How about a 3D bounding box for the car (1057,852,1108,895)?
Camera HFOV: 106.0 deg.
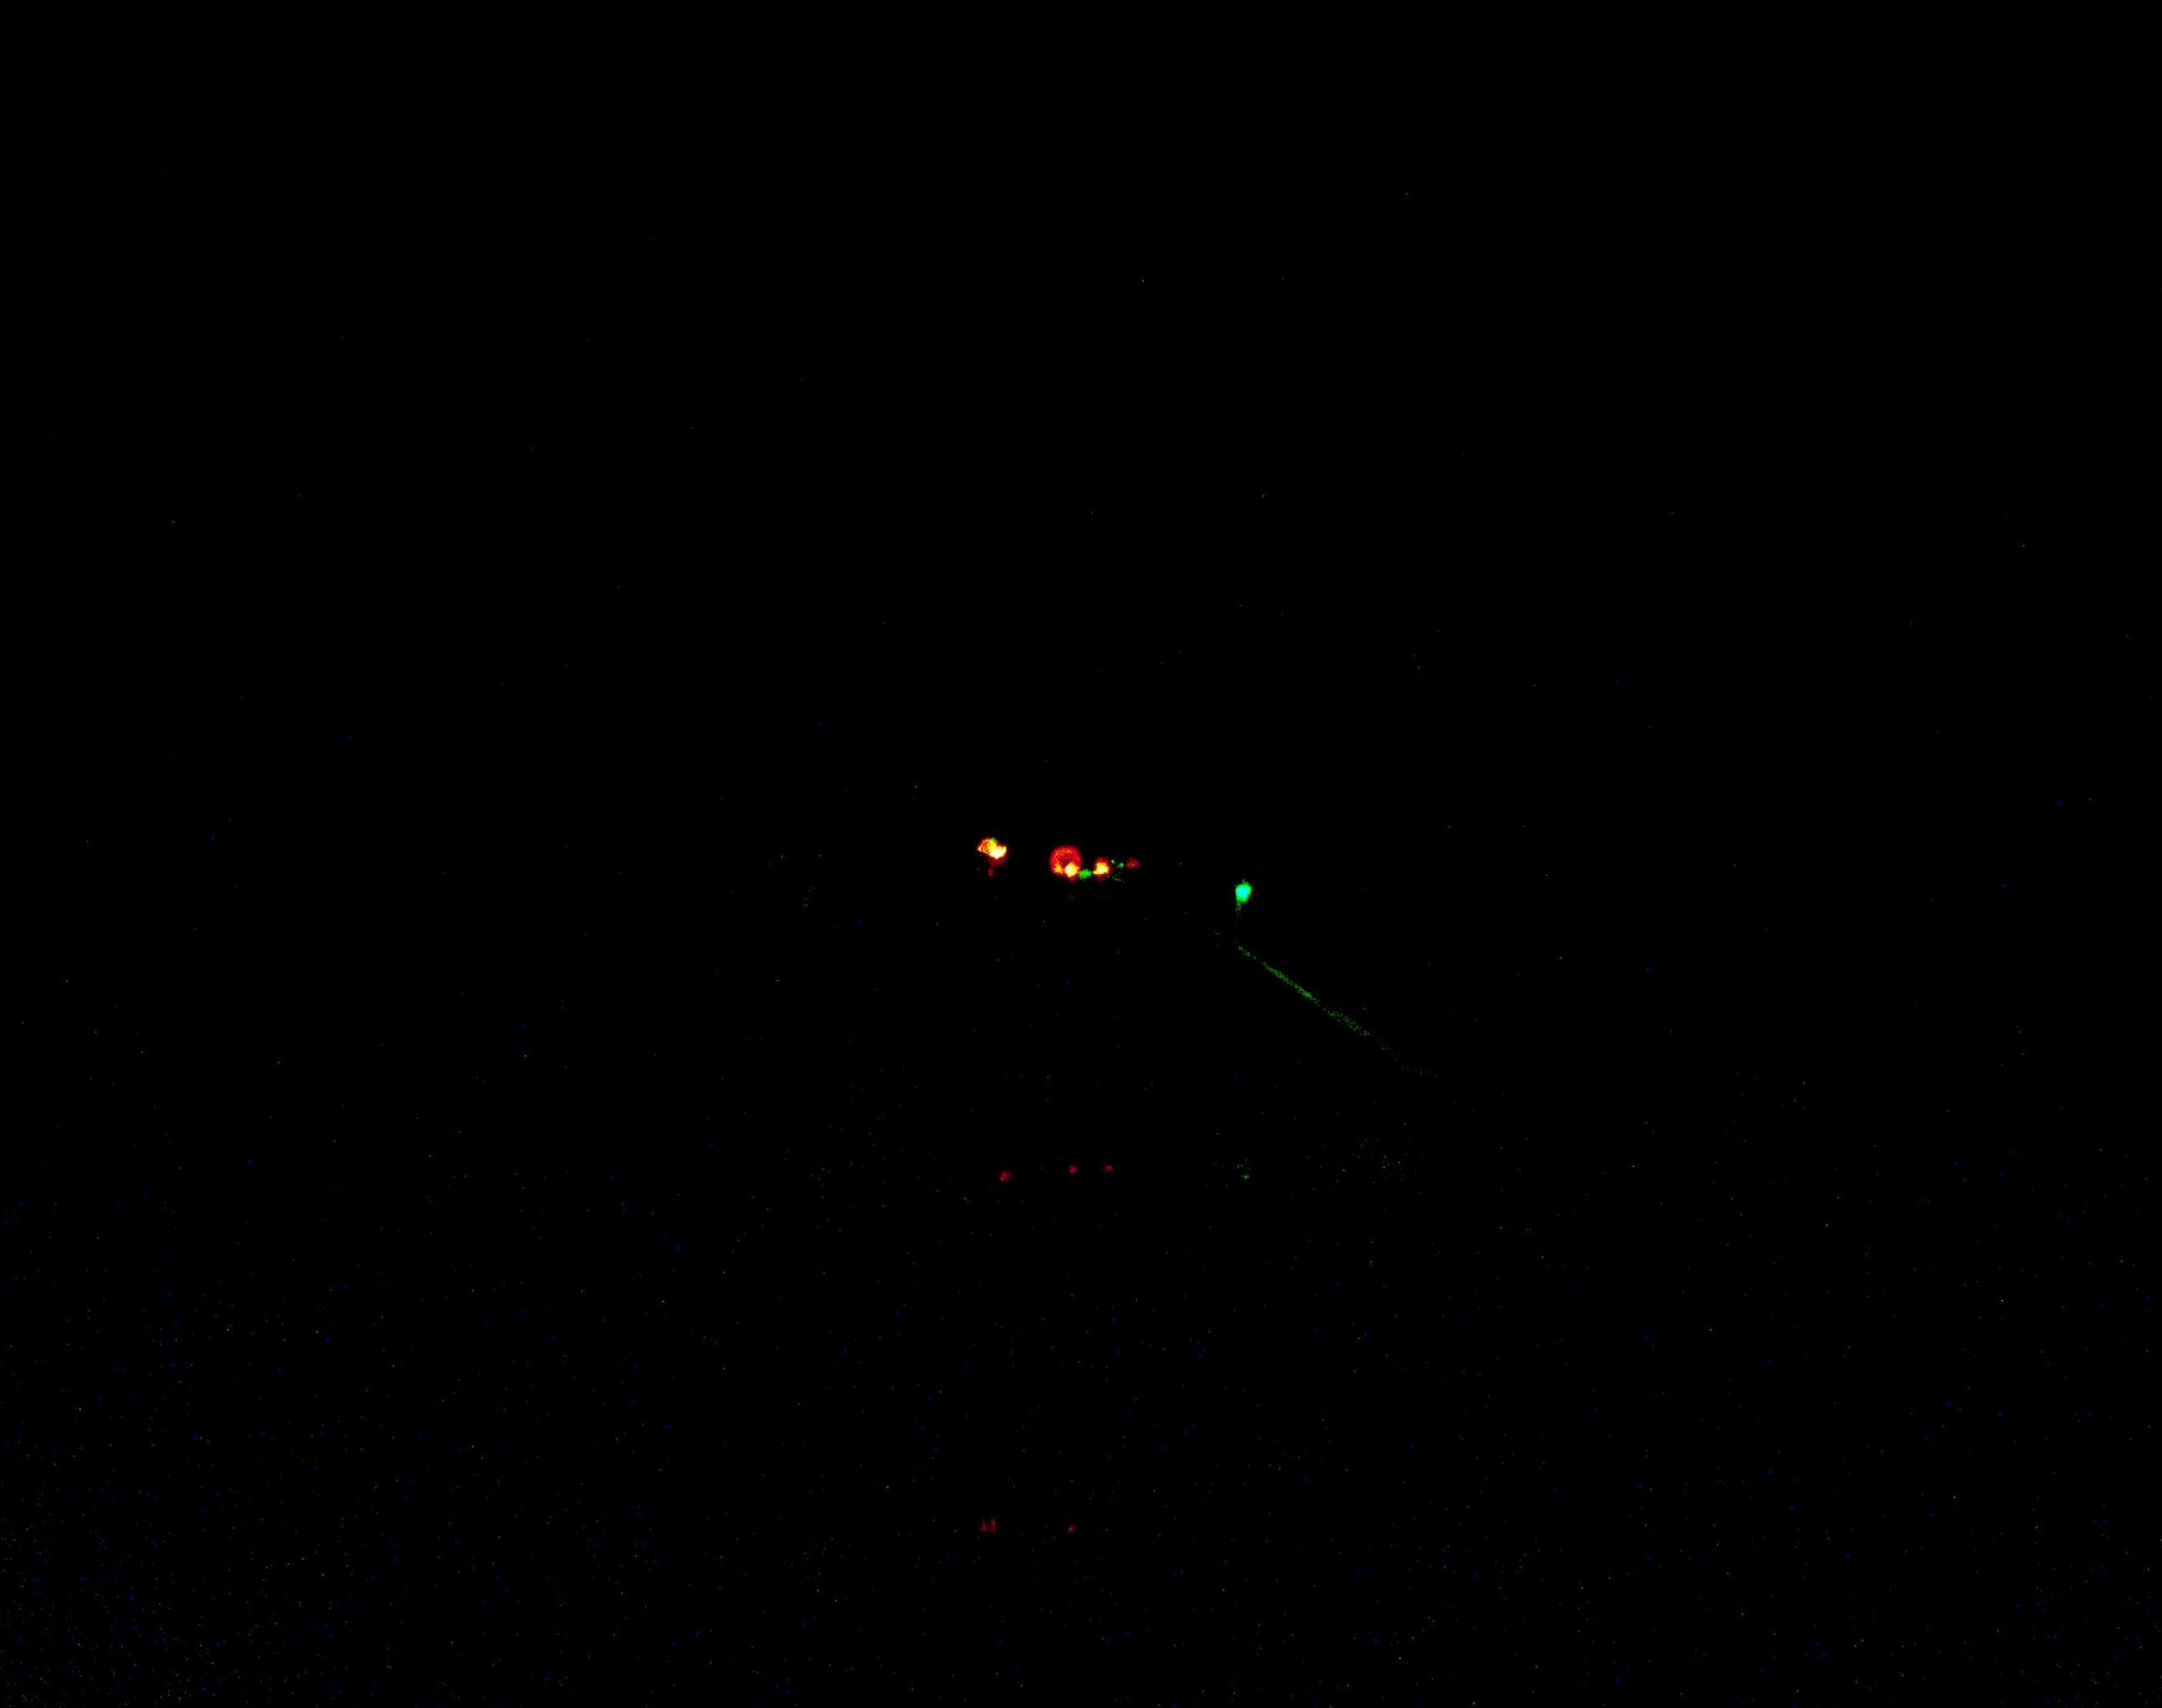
[{"bbox_3d":[0.035,0.759,34.780,1.987,1.628,4.983,0,1,-1],"label":"car"}]
